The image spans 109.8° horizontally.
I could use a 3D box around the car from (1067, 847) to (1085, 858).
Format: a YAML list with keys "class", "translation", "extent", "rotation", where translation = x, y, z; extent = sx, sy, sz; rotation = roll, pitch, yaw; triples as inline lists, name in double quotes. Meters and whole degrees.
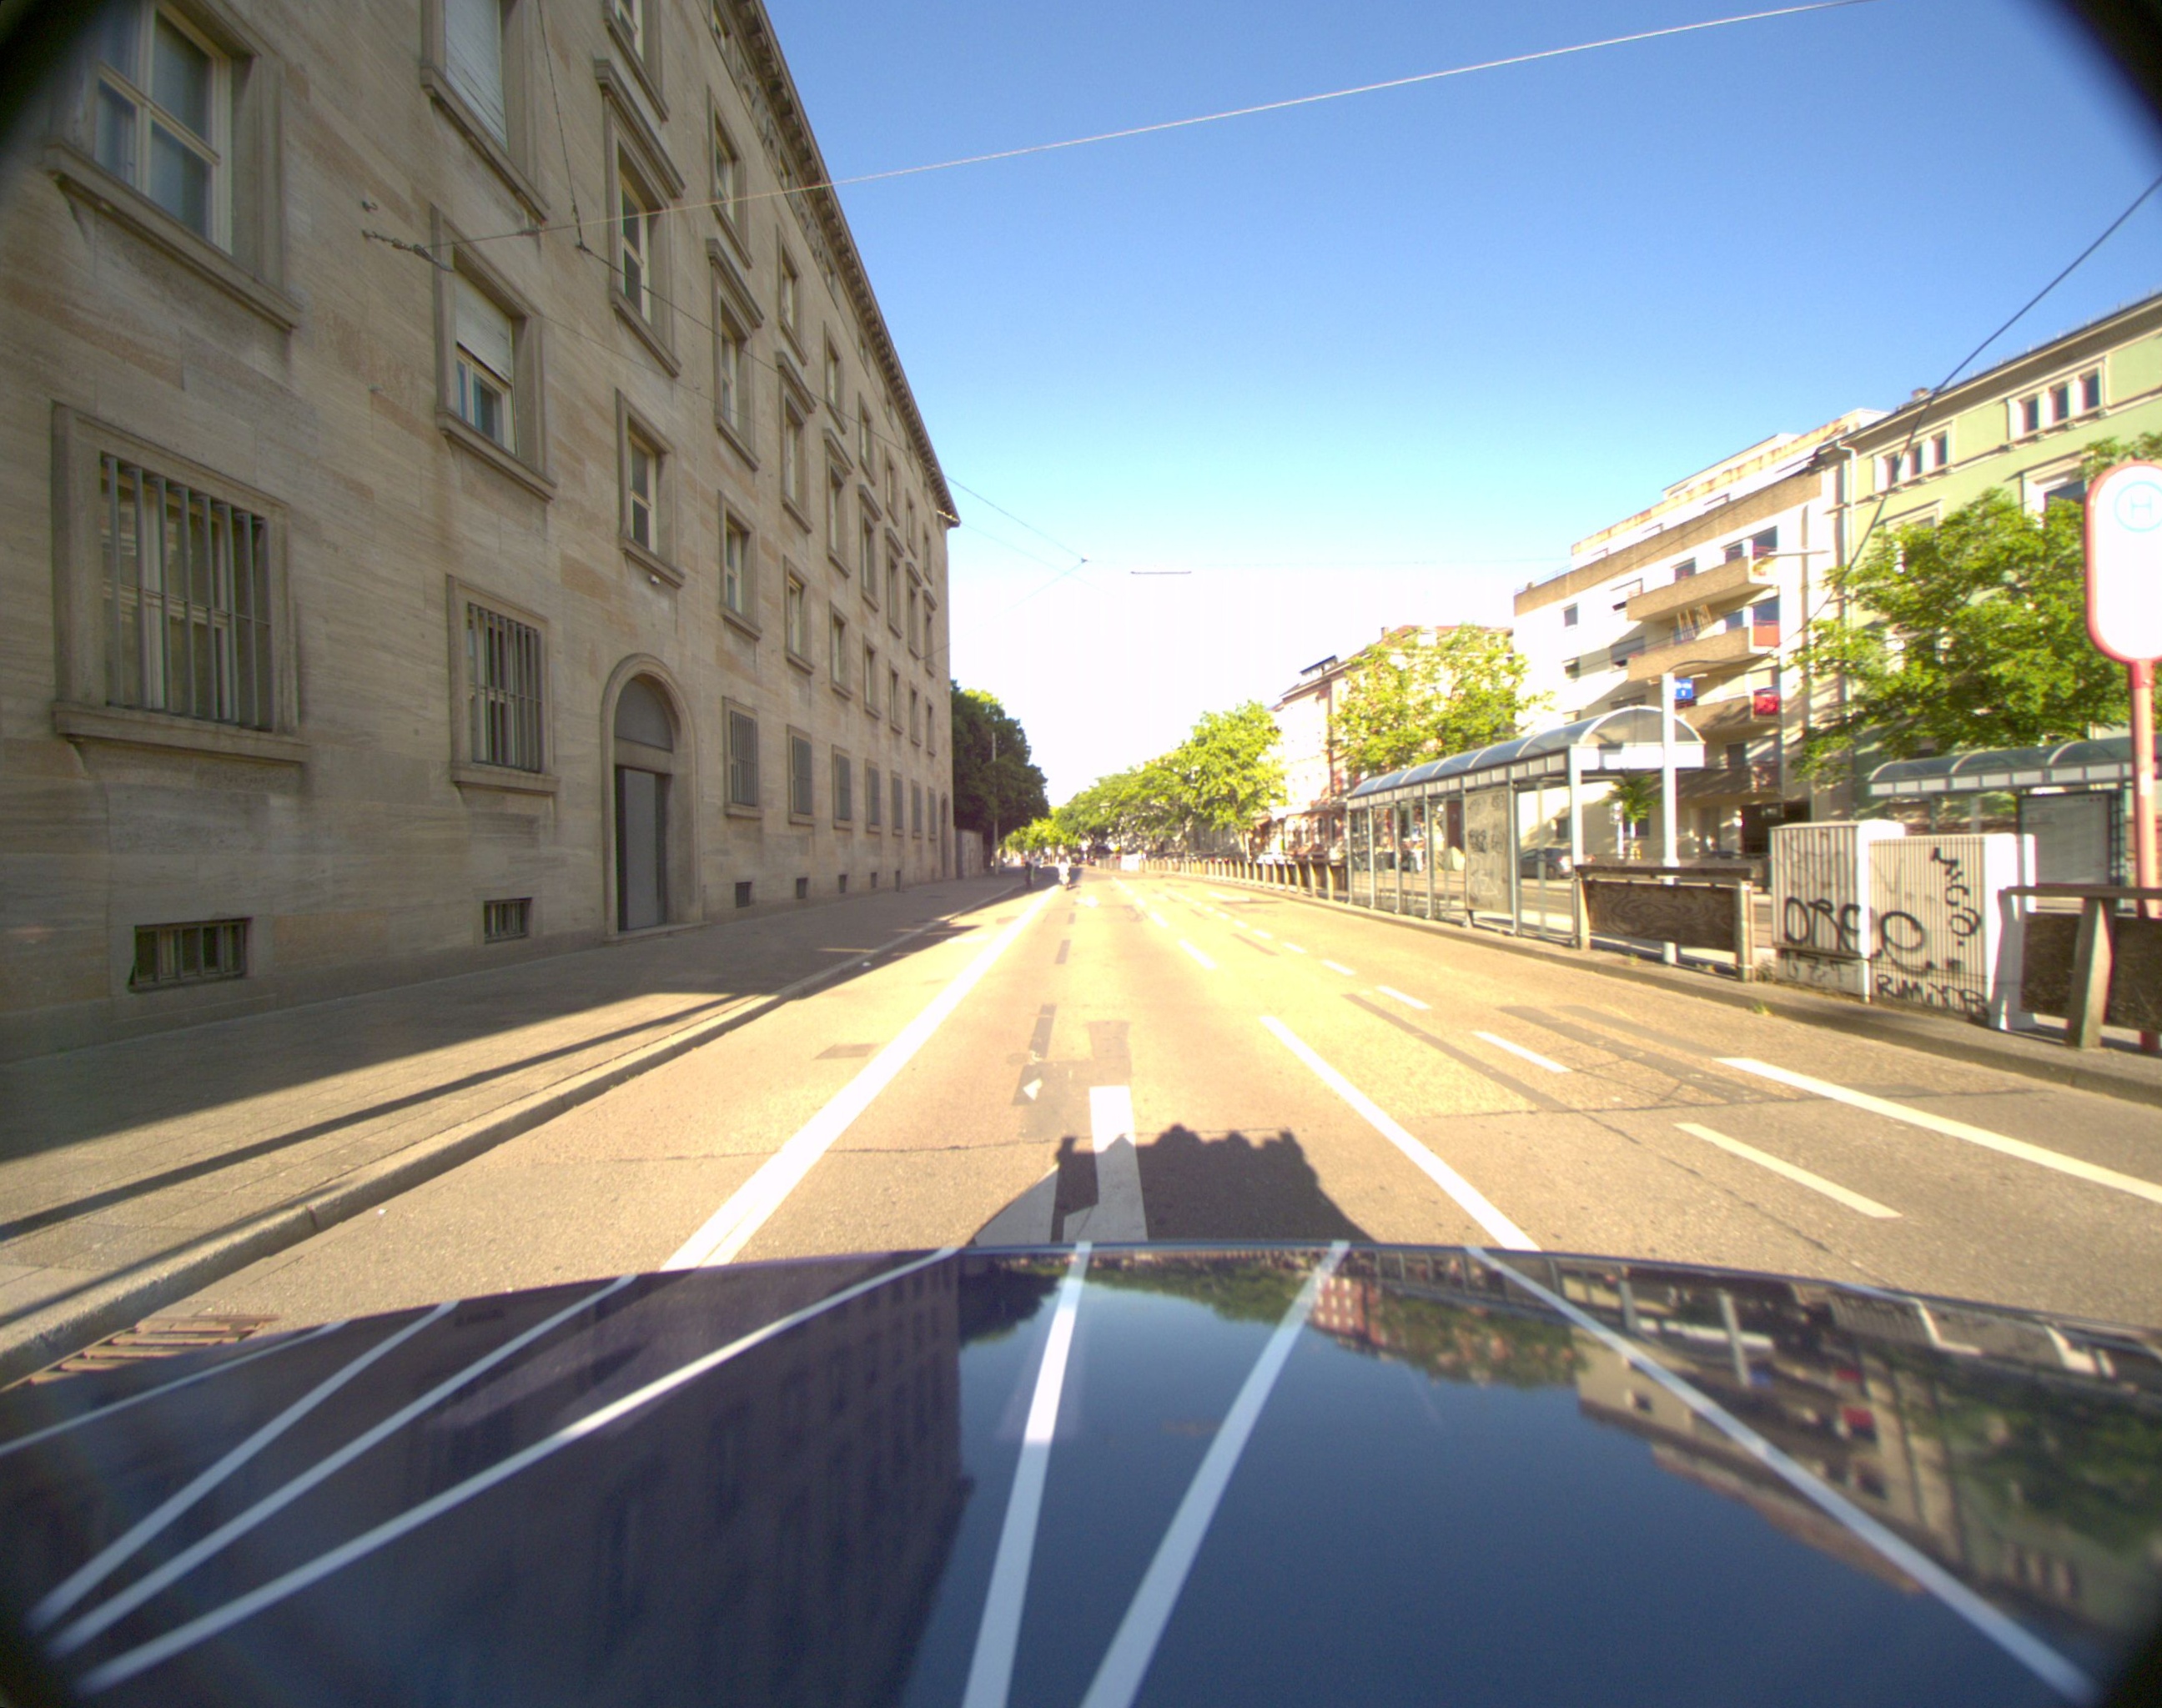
- class: "car"
  translation: [-0.747, -0.192, 110.752]
  extent: [1.648, 1.480, 3.995]
  rotation: [-2, 1, -12]

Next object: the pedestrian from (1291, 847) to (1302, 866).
- class: "pedestrian"
  translation: [18.484, 0.191, 65.194]
  extent: [0.867, 1.619, 0.893]
  rotation: [-1, 1, 14]

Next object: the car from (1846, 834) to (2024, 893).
- class: "car"
  translation: [24.500, 0.242, 21.827]
  extent: [4.002, 1.573, 1.761]
  rotation: [-1, 0, -14]

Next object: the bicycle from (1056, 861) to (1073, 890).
- class: "bicycle"
  translation: [-0.702, 0.922, 32.671]
  extent: [0.625, 1.167, 1.566]
  rotation: [-1, 0, 1]

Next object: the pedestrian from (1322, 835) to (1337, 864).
- class: "pedestrian"
  translation: [19.381, -0.356, 59.229]
  extent: [0.812, 2.194, 0.756]
  rotation: [-1, 1, -4]

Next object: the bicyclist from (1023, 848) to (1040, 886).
- class: "bicyclist"
  translation: [-2.284, 0.590, 34.814]
  extent: [0.625, 1.729, 0.688]
  rotation: [-3, 1, 1]

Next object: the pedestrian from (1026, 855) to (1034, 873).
- class: "pedestrian"
  translation: [-3.945, 0.770, 58.860]
  extent: [0.548, 1.327, 0.587]
  rotation: [-1, 1, 7]

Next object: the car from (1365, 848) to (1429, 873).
- class: "car"
  translation: [18.498, 0.354, 44.665]
  extent: [1.609, 1.388, 3.997]
  rotation: [-1, 0, -9]

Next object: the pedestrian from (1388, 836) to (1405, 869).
- class: "pedestrian"
  translation: [21.334, -0.117, 51.397]
  extent: [0.813, 2.194, 0.756]
  rotation: [-1, 1, -10]

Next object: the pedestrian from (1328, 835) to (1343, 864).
- class: "pedestrian"
  translation: [19.320, -0.337, 57.694]
  extent: [0.813, 2.194, 0.756]
  rotation: [-1, 1, -10]

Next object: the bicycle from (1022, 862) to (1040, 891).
- class: "bicycle"
  translation: [-2.261, 1.015, 34.733]
  extent: [0.625, 1.214, 1.659]
  rotation: [-3, 1, 1]

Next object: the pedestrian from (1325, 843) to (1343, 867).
- class: "pedestrian"
  translation: [18.431, 0.057, 55.345]
  extent: [0.855, 1.710, 1.019]
  rotation: [-1, 1, -9]

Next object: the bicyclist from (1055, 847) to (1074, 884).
- class: "bicyclist"
  translation: [-0.714, 0.475, 32.641]
  extent: [0.728, 1.570, 0.775]
  rotation: [-1, 1, 1]

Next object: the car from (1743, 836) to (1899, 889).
- class: "car"
  translation: [23.701, 0.244, 24.367]
  extent: [4.002, 1.573, 1.761]
  rotation: [-1, 0, -14]

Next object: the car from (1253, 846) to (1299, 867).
- class: "car"
  translation: [16.340, 0.211, 63.602]
  extent: [4.134, 1.698, 1.848]
  rotation: [-1, 1, -45]

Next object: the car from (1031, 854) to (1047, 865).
- class: "car"
  translation: [-5.443, 0.674, 98.024]
  extent: [1.772, 1.429, 3.831]
  rotation: [-1, 0, -8]

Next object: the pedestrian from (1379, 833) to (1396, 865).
- class: "pedestrian"
  translation: [21.161, -0.349, 52.415]
  extent: [0.813, 2.194, 0.756]
  rotation: [-1, 1, -10]

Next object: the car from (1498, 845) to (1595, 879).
- class: "car"
  translation: [20.871, 0.355, 34.239]
  extent: [1.654, 1.419, 3.737]
  rotation: [-1, 0, -11]
